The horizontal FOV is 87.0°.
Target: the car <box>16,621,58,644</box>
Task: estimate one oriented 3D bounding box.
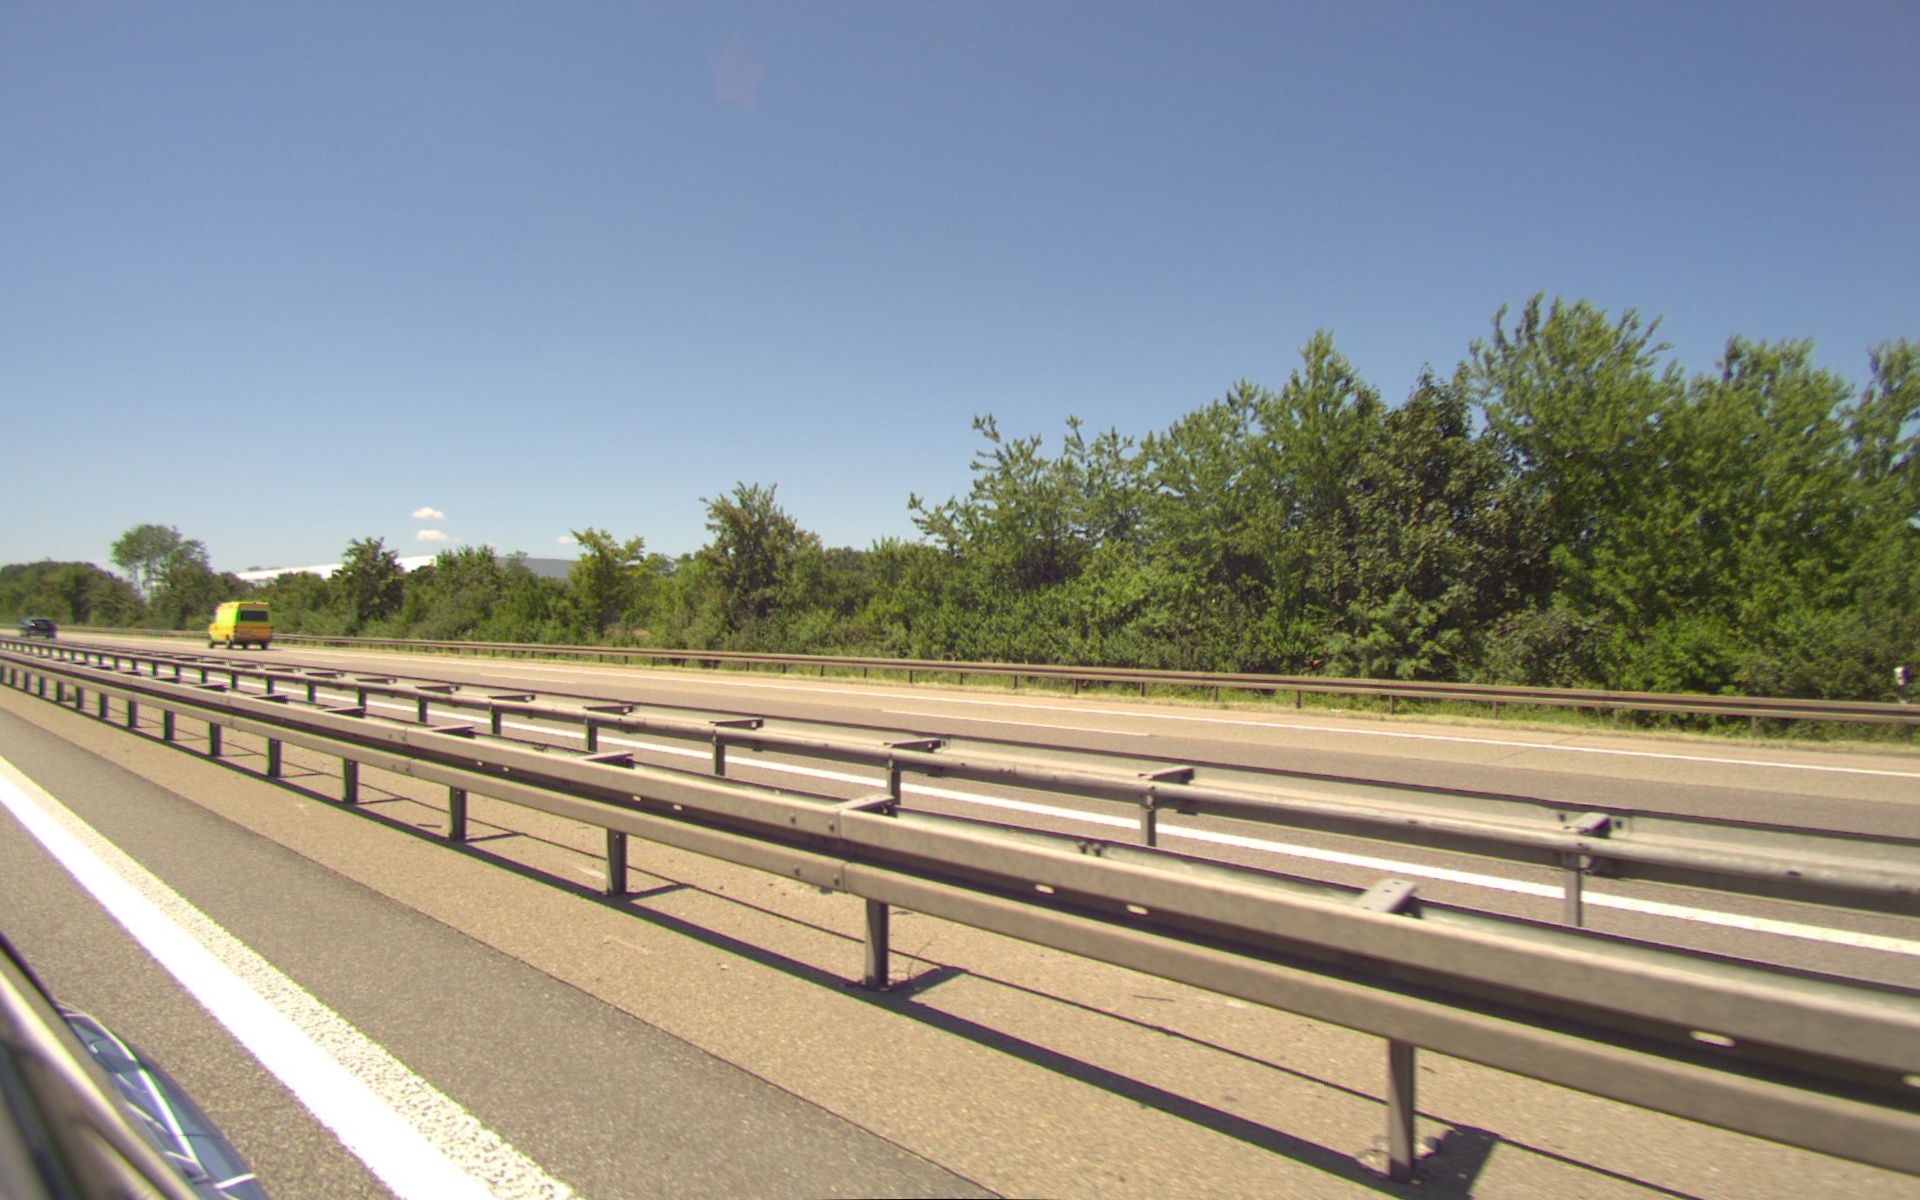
[{"bbox_3d":[-72.170,2.509,79.102,4.623,1.703,1.849,-1,-3,41],"label":"car"}]

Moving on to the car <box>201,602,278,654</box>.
[{"bbox_3d":[-40.985,1.627,57.486,5.796,2.800,2.143,-1,-3,41],"label":"car"}]
